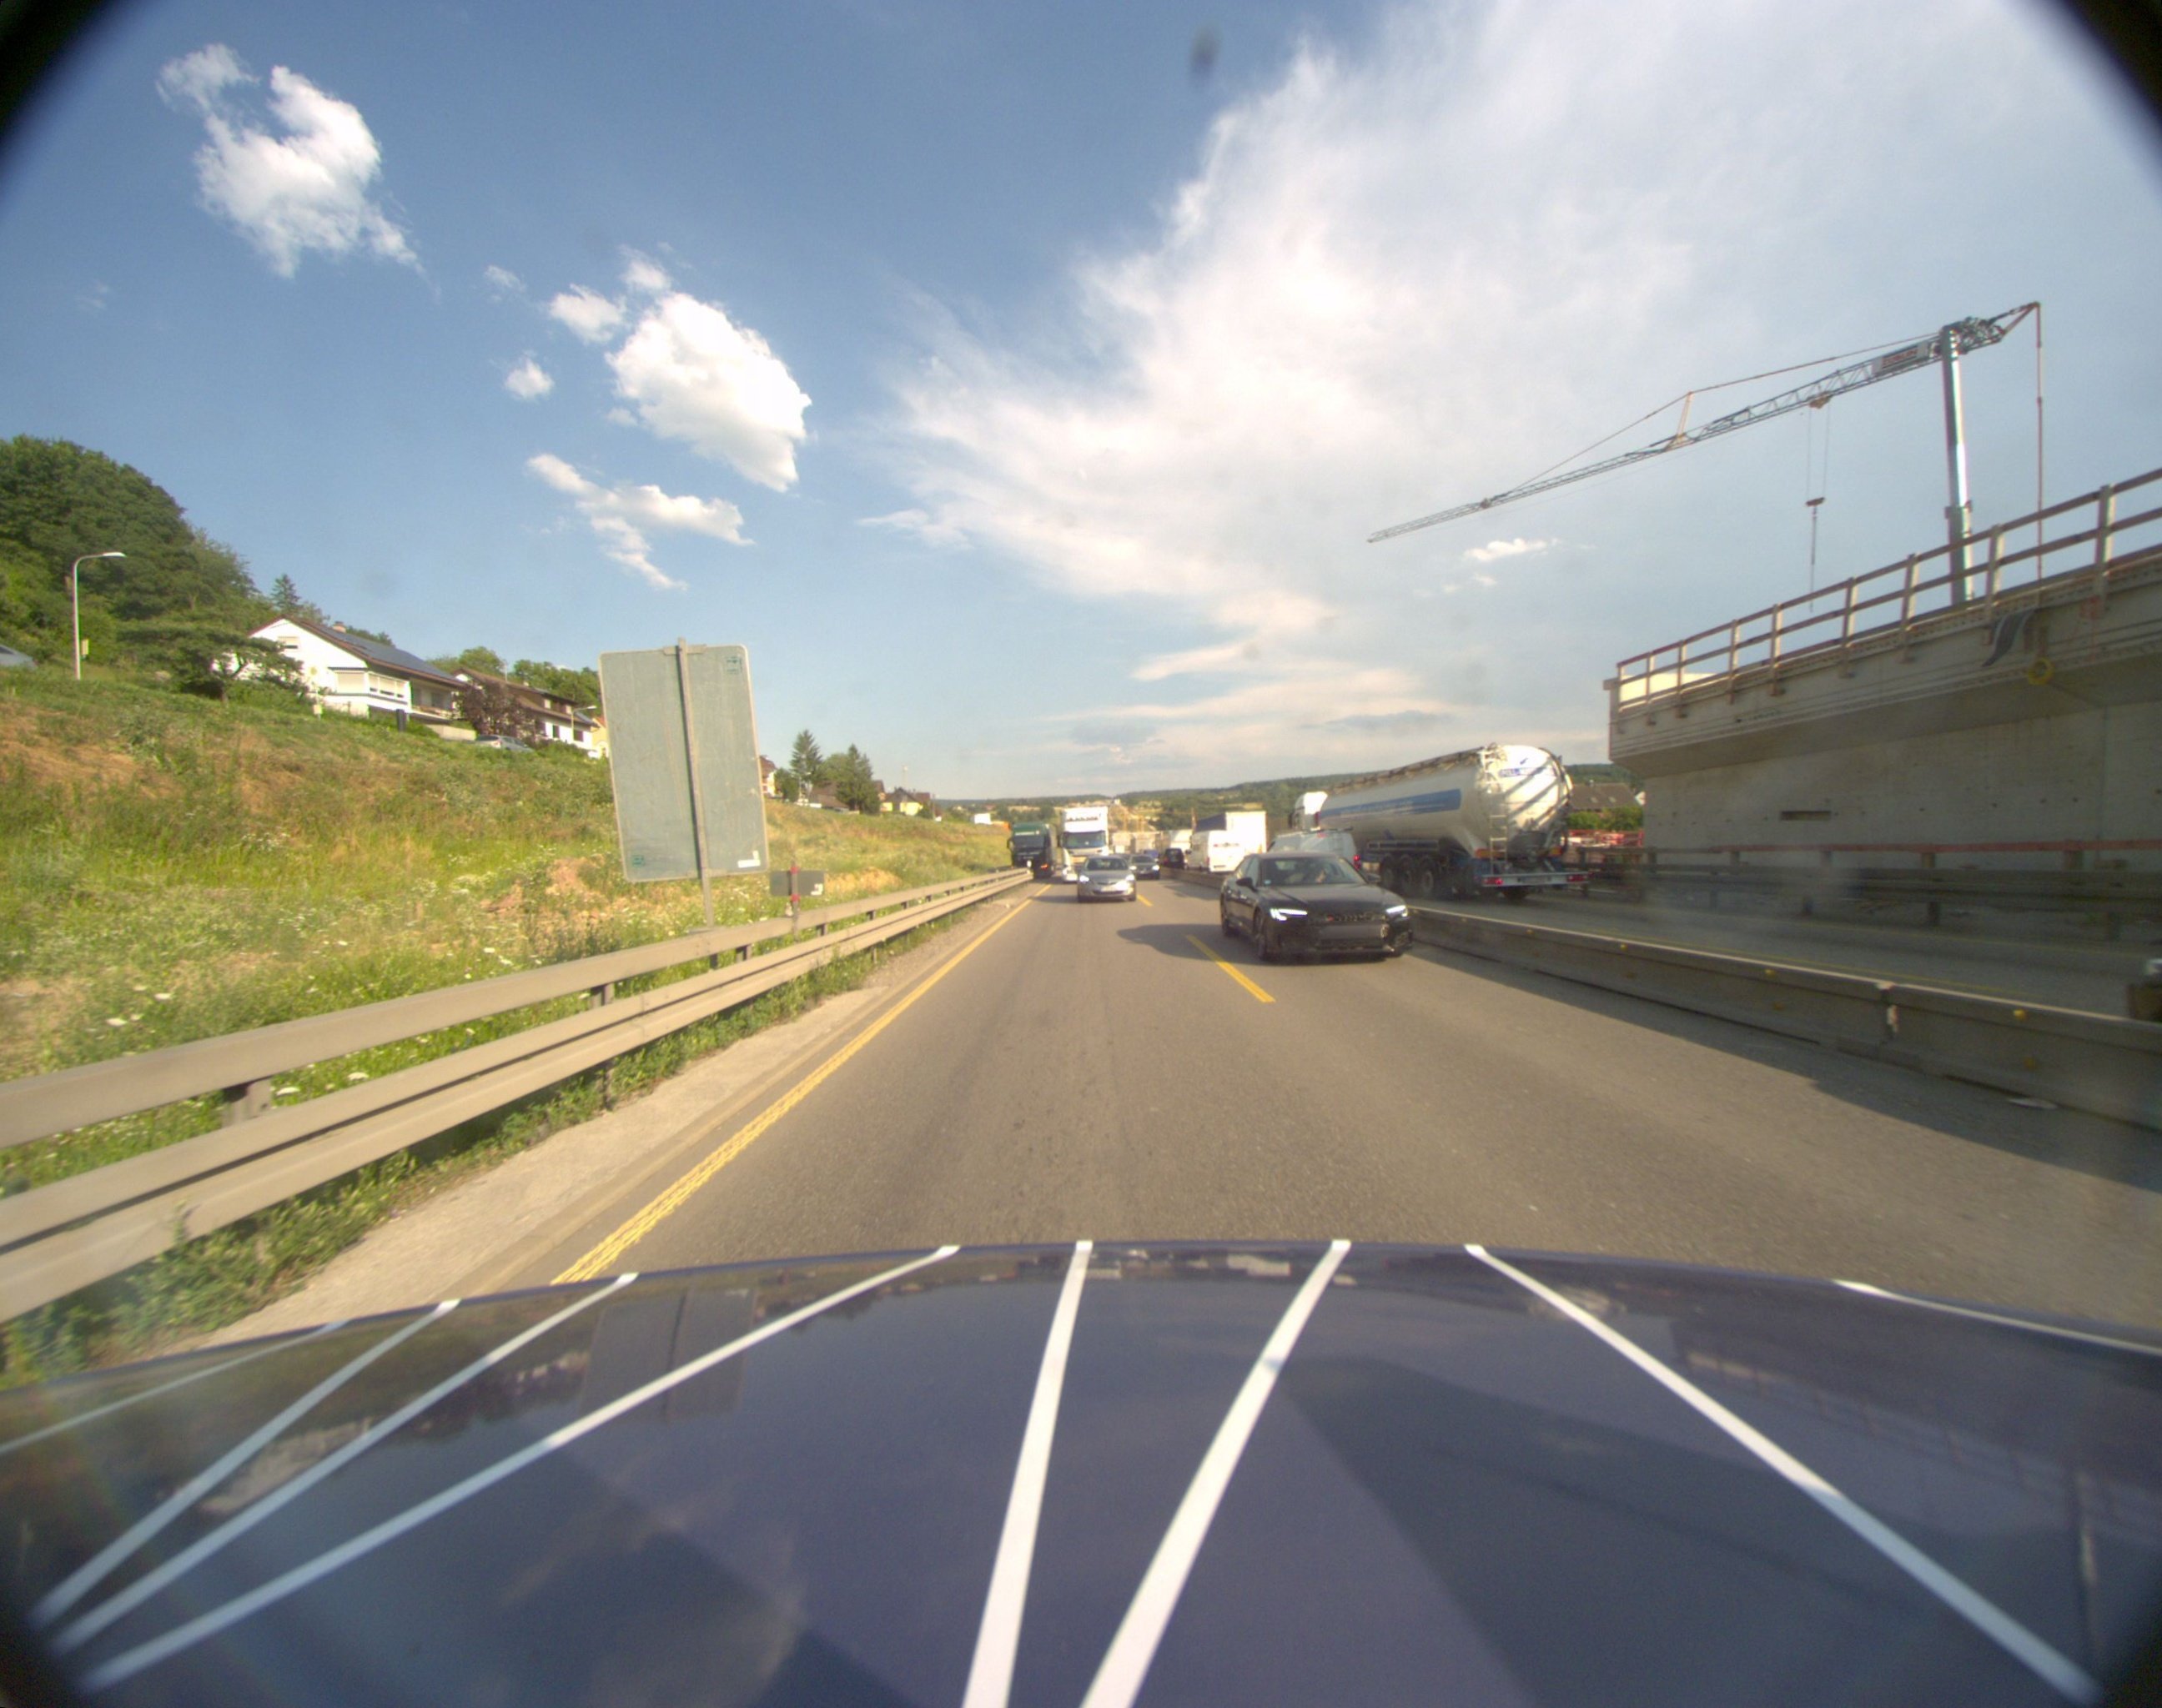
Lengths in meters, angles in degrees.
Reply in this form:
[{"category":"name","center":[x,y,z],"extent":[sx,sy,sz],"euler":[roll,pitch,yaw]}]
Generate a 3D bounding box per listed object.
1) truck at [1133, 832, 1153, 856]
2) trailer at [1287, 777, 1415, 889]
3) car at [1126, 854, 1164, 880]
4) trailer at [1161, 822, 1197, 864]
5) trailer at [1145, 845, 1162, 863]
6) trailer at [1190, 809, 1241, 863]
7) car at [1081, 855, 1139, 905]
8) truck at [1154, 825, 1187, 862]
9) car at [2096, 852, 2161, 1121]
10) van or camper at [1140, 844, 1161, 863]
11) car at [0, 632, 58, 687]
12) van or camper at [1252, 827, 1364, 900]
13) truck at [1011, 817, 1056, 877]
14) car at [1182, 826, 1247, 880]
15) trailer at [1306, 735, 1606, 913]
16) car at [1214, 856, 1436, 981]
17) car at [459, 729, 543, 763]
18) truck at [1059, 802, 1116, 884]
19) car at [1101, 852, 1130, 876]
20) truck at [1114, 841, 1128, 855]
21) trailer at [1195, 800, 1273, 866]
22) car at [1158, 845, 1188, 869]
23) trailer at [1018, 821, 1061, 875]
[{"category":"truck","center":[11.249,-1.793,137.970],"extent":[2.873,4.038,7.598],"euler":[-2,0,1]},{"category":"trailer","center":[10.288,-0.752,29.756],"extent":[2.659,3.828,6.429],"euler":[-2,1,1]},{"category":"car","center":[3.593,0.702,42.955],"extent":[1.692,1.293,3.882],"euler":[-2,0,-1]},{"category":"trailer","center":[10.795,-1.187,84.461],"extent":[2.834,4.258,8.735],"euler":[-2,1,1]},{"category":"trailer","center":[7.517,-0.030,78.960],"extent":[1.452,1.843,2.984],"euler":[-2,1,1]},{"category":"trailer","center":[10.760,-1.419,61.412],"extent":[2.932,4.013,6.222],"euler":[-2,1,1]},{"category":"car","center":[0.877,0.773,24.095],"extent":[1.671,1.425,3.524],"euler":[-1,0,0]},{"category":"truck","center":[10.897,-1.231,93.842],"extent":[2.834,4.239,10.072],"euler":[-2,0,1]},{"category":"car","center":[6.622,0.706,2.027],"extent":[1.713,1.437,4.600],"euler":[-2,0,1]},{"category":"van or camper","center":[7.563,-0.059,82.954],"extent":[1.868,1.881,5.003],"euler":[-2,0,1]},{"category":"car","center":[-33.776,-6.098,22.863],"extent":[1.451,1.364,3.554],"euler":[-2,0,-10]},{"category":"van or camper","center":[6.991,0.247,24.053],"extent":[1.863,2.002,5.295],"euler":[-2,0,-1]},{"category":"truck","center":[-3.312,-0.485,54.500],"extent":[2.547,3.992,6.071],"euler":[-2,1,1]},{"category":"car","center":[7.079,-0.080,41.169],"extent":[1.999,2.607,7.408],"euler":[-2,0,-1]},{"category":"trailer","center":[10.260,-0.707,23.485],"extent":[2.659,3.828,13.442],"euler":[-2,0,1]},{"category":"car","center":[3.282,0.771,11.197],"extent":[1.873,1.411,4.348],"euler":[-2,0,0]},{"category":"car","center":[-35.059,-6.515,46.045],"extent":[1.999,1.433,3.999],"euler":[-2,0,-1]},{"category":"truck","center":[0.414,-0.598,44.999],"extent":[2.741,4.033,12.670],"euler":[-2,0,1]},{"category":"car","center":[2.601,0.738,57.620],"extent":[1.998,1.739,4.000],"euler":[-1,0,1]},{"category":"truck","center":[12.113,-1.808,230.333],"extent":[3.876,3.766,9.141],"euler":[-2,0,1]},{"category":"trailer","center":[10.666,-1.370,54.716],"extent":[2.932,4.013,13.773],"euler":[-2,0,1]},{"category":"car","center":[7.346,0.210,60.788],"extent":[1.785,1.832,4.853],"euler":[-2,0,0]},{"category":"trailer","center":[-3.186,-0.467,61.885],"extent":[2.554,3.911,12.078],"euler":[-2,0,1]}]
